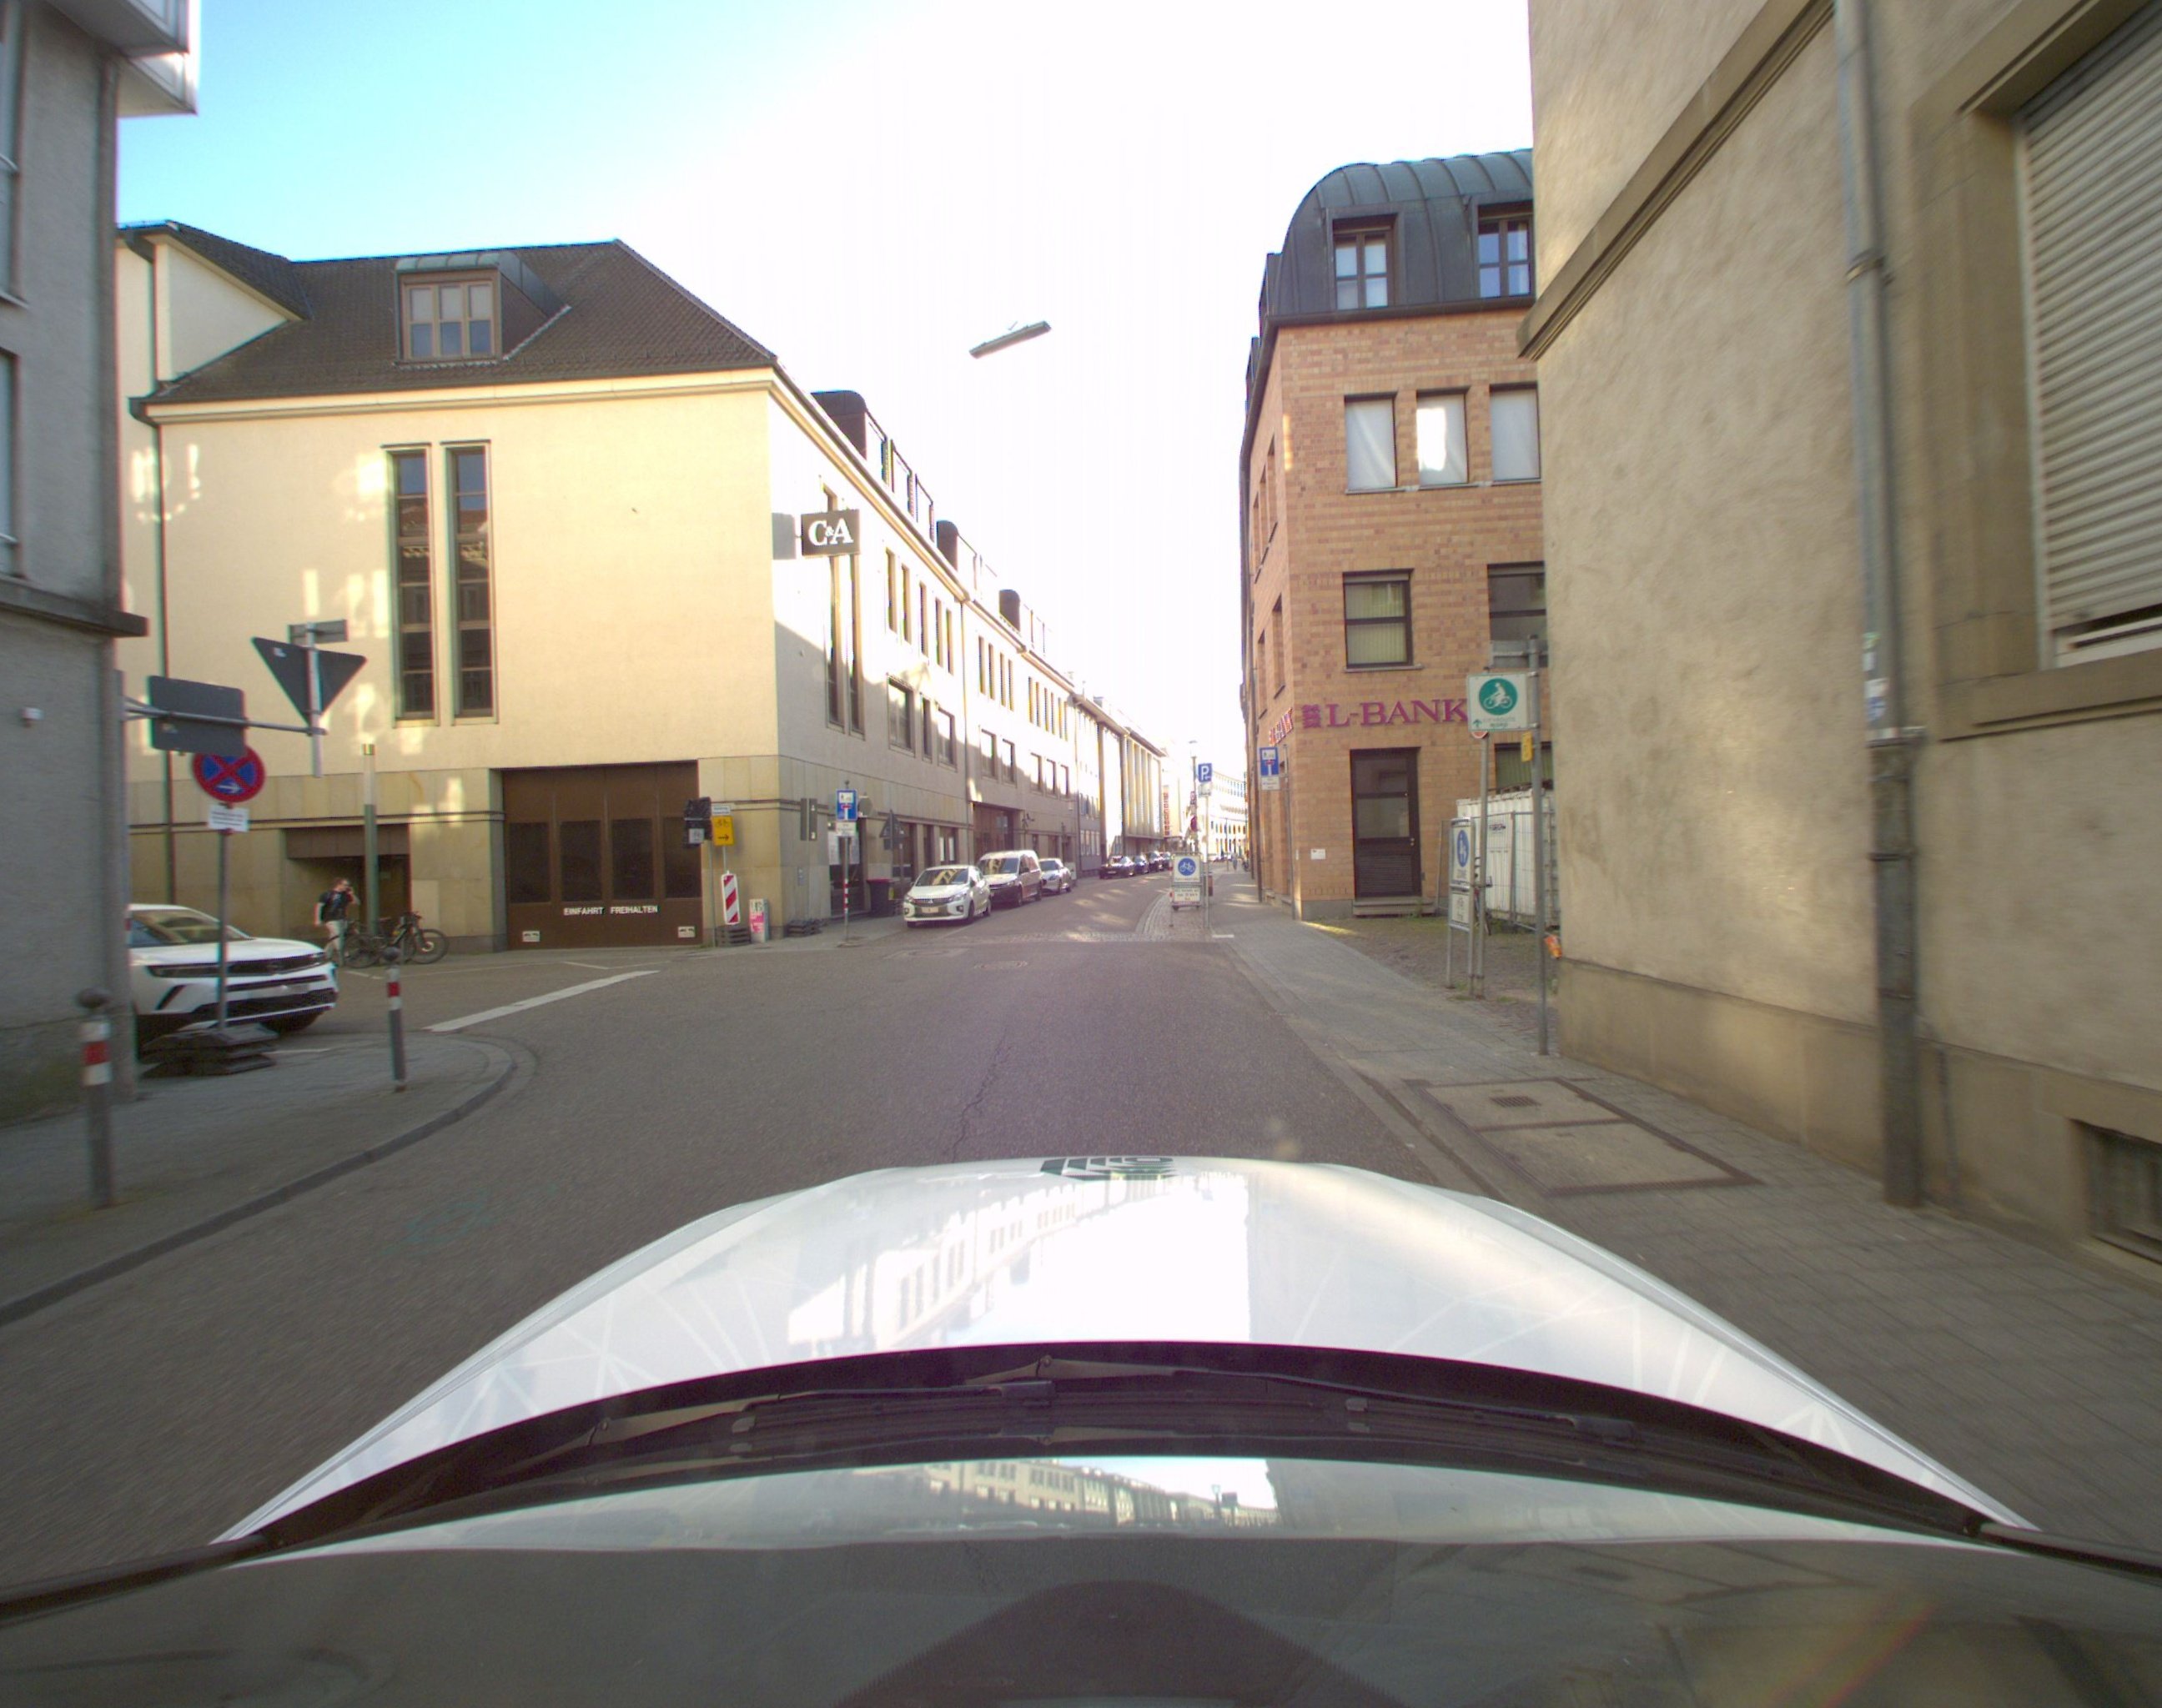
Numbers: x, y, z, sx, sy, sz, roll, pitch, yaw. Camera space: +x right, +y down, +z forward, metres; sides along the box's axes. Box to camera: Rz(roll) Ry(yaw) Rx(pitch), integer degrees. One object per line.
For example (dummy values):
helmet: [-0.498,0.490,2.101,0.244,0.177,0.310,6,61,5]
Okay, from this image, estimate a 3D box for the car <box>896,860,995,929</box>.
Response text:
car: [-3.433,0.982,21.357,1.663,1.507,3.797,-4,0,3]

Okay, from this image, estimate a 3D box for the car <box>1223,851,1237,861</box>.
car: [20.809,0.278,113.545,1.677,1.370,3.632,-3,0,15]

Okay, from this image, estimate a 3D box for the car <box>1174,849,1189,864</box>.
car: [11.160,0.258,90.441,1.329,1.494,3.358,-2,0,13]

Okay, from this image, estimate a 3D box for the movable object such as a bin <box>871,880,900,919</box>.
movable object such as a bin: [-5.417,1.258,22.580,0.607,1.061,0.713,0,-1,0]

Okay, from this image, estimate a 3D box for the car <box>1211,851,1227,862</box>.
car: [18.165,0.306,107.166,1.677,1.370,3.632,-3,0,15]

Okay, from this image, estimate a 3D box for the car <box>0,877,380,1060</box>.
car: [-10.223,1.187,9.002,3.957,1.655,1.770,-3,0,15]

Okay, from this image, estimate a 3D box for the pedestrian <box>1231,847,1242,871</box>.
pedestrian: [11.354,0.395,59.546,0.662,1.730,0.840,0,-1,2]

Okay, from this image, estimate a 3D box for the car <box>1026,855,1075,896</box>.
car: [-1.217,0.838,33.343,1.263,1.507,3.410,-4,0,9]

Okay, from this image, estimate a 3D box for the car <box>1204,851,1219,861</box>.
car: [18.510,0.278,115.352,1.677,1.370,3.632,-3,0,15]

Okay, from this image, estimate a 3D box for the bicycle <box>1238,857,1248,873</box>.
bicycle: [10.823,0.700,54.401,0.508,0.994,2.654,-2,0,9]

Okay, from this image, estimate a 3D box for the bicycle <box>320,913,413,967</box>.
bicycle: [-14.302,1.719,16.320,1.482,1.004,0.270,-2,0,-7]

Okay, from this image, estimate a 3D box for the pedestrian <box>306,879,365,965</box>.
pedestrian: [-15.499,1.401,16.946,0.693,1.702,0.660,-1,0,-22]

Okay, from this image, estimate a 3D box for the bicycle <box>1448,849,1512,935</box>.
bicycle: [6.562,0.594,13.462,0.546,1.317,1.653,-3,0,14]

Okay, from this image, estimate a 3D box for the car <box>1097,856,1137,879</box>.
car: [2.431,0.874,53.779,1.868,1.332,4.114,-2,0,12]

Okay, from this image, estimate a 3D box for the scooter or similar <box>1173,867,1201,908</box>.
scooter or similar: [2.921,0.920,22.475,0.767,1.136,0.269,0,-1,5]

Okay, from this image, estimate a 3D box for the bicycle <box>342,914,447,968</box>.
bicycle: [-13.588,1.710,16.139,1.693,0.965,0.224,-2,0,-9]

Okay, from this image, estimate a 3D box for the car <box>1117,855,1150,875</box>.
car: [3.898,0.795,59.639,1.712,1.340,4.014,-3,0,13]

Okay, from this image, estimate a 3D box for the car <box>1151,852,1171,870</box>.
car: [7.170,0.601,72.879,1.329,1.494,3.522,-2,0,13]

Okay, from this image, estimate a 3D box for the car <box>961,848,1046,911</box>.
car: [-2.475,0.779,27.196,1.661,1.818,4.562,-4,0,8]
